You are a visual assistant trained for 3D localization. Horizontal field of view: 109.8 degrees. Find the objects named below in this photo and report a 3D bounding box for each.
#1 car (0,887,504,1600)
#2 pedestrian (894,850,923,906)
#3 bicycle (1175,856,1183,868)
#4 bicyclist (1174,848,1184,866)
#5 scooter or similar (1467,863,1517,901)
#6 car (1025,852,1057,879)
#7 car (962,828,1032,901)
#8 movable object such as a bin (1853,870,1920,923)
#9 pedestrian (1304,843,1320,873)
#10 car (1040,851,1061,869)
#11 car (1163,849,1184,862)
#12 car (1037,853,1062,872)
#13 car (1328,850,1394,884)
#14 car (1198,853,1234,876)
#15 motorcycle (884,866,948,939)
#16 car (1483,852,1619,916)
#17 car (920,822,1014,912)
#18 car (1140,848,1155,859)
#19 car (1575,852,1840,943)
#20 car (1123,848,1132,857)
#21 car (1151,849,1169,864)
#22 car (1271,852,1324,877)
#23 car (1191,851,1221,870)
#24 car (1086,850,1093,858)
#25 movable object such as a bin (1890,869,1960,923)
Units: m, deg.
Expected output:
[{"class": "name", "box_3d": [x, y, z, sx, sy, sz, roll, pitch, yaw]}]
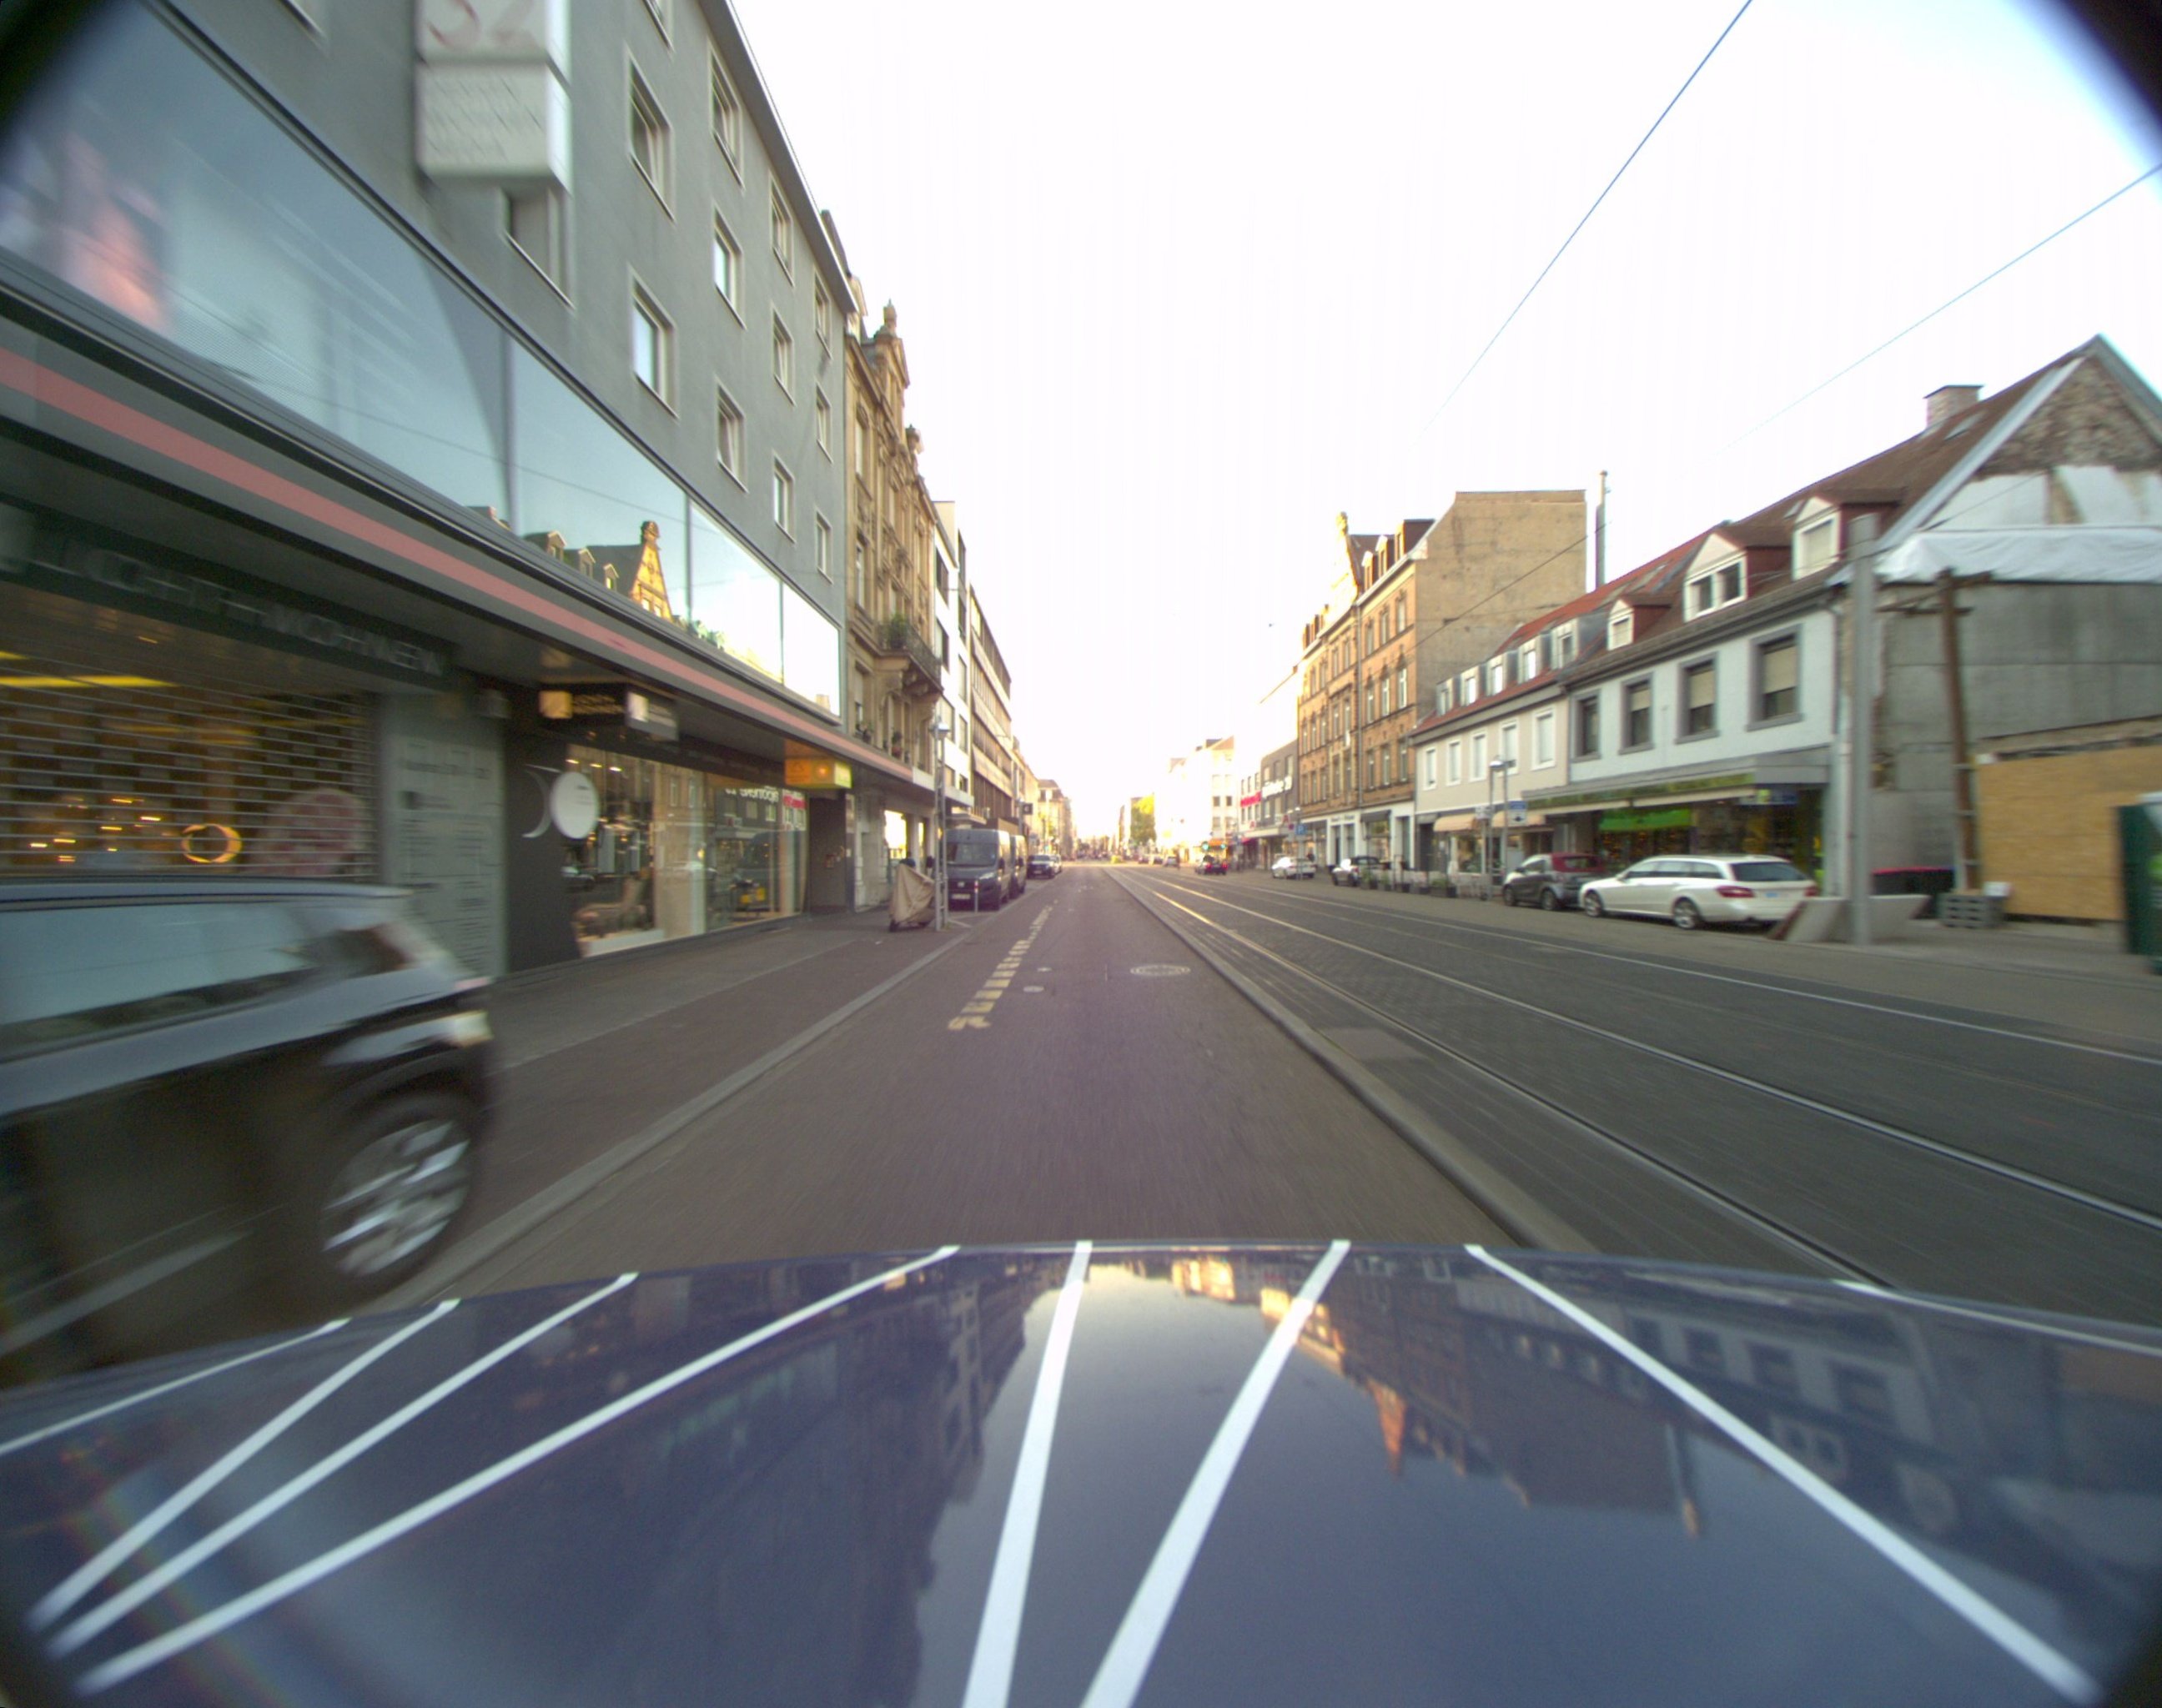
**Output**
[{"class": "car", "box_3d": [-3.335, 0.942, 1.215, 1.744, 1.532, 3.965, -1, 1, 0]}, {"class": "pedestrian", "box_3d": [-5.467, 0.745, 24.103, 0.743, 1.746, 0.789, 2, 1, -3]}, {"class": "bicycle", "box_3d": [9.827, 0.783, 76.194, 0.493, 1.183, 2.265, -2, 1, 0]}, {"class": "bicyclist", "box_3d": [9.834, 0.293, 76.226, 0.882, 1.795, 0.900, -2, 1, 1]}, {"class": "scooter or similar", "box_3d": [13.140, 0.902, 24.301, 1.365, 1.161, 0.311, -2, 1, 3]}, {"class": "car", "box_3d": [-2.731, 0.741, 52.686, 1.998, 1.663, 3.876, -2, 1, 0]}, {"class": "car", "box_3d": [-3.227, 0.355, 30.311, 1.998, 2.559, 5.604, -2, 1, 1]}, {"class": "movable object such as a bin", "box_3d": [16.504, 0.867, 15.580, 0.684, 1.039, 0.657, 0, 1, 5]}, {"class": "pedestrian", "box_3d": [15.916, 0.286, 52.329, 0.748, 2.002, 1.049, -2, 1, 5]}, {"class": "car", "box_3d": [-2.899, 0.545, 72.868, 1.899, 1.557, 3.534, -3, 0, -2]}, {"class": "car", "box_3d": [11.185, 0.223, 92.502, 1.998, 1.434, 3.999, -2, 1, 0]}, {"class": "car", "box_3d": [-2.687, 0.698, 65.602, 1.999, 1.538, 3.876, -2, 0, -1]}, {"class": "car", "box_3d": [13.514, 0.597, 36.906, 1.846, 1.484, 3.815, -2, 1, 1]}, {"class": "car", "box_3d": [10.494, 0.780, 59.357, 1.998, 1.554, 3.999, -2, 1, 0]}, {"class": "motorcycle", "box_3d": [-3.495, 0.978, 16.381, 0.785, 1.396, 2.637, 1, 0, 0]}, {"class": "car", "box_3d": [13.028, 0.771, 21.300, 1.660, 1.562, 3.470, -2, 1, 1]}, {"class": "car", "box_3d": [-3.429, 0.328, 23.994, 2.080, 2.434, 5.603, -2, 1, -1]}, {"class": "car", "box_3d": [10.806, -0.135, 123.097, 1.998, 1.685, 3.999, -2, 1, 0]}, {"class": "car", "box_3d": [13.031, 0.804, 16.291, 1.896, 1.547, 4.622, -2, 1, 1]}, {"class": "car", "box_3d": [11.120, -0.470, 181.720, 1.998, 2.002, 3.999, -2, 1, 0]}, {"class": "car", "box_3d": [11.087, 0.339, 106.344, 1.998, 1.830, 3.999, -2, 2, 0]}, {"class": "car", "box_3d": [13.865, 0.668, 48.899, 1.999, 1.412, 4.402, -2, 1, -2]}, {"class": "car", "box_3d": [11.165, 0.550, 68.256, 1.998, 1.544, 3.999, -2, 1, 0]}, {"class": "car", "box_3d": [2.055, 0.006, 179.261, 1.572, 1.781, 3.664, -2, 1, -1]}, {"class": "movable object such as a bin", "box_3d": [17.222, 0.852, 15.523, 0.684, 1.039, 0.657, -2, 1, 5]}]
